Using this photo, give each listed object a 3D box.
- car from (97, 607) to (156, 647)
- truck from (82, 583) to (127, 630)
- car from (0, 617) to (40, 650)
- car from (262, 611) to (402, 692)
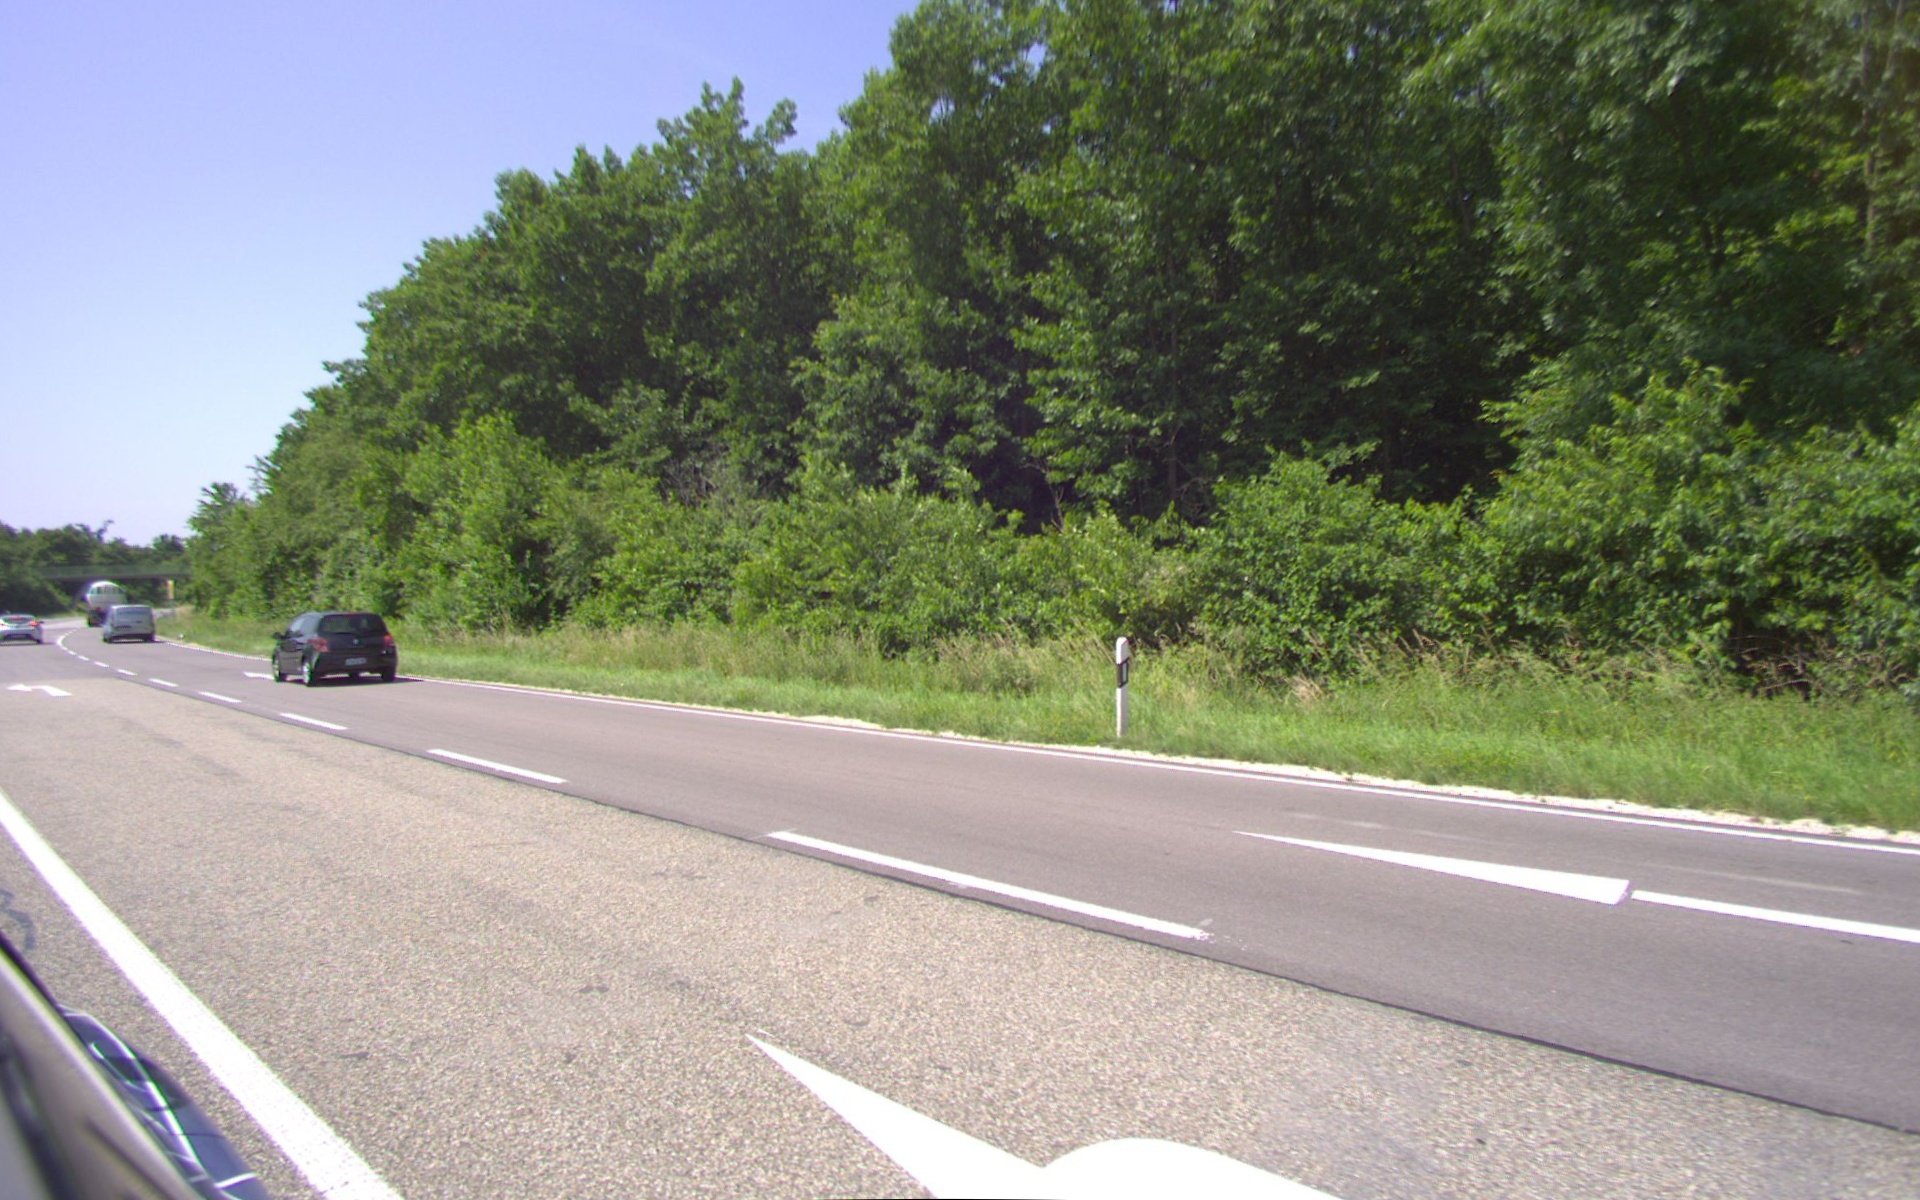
[{"bbox_3d":[-40.656,1.286,49.332,1.821,1.792,4.897,-1,0,-44],"label":"car"},{"bbox_3d":[-71.760,0.535,84.962,2.593,3.698,8.813,-1,0,-39],"label":"truck"},{"bbox_3d":[-45.013,1.566,48.202,1.688,1.430,4.103,-1,1,-42],"label":"car"},{"bbox_3d":[-13.098,1.014,21.034,3.552,1.513,1.597,-1,0,43],"label":"car"}]
